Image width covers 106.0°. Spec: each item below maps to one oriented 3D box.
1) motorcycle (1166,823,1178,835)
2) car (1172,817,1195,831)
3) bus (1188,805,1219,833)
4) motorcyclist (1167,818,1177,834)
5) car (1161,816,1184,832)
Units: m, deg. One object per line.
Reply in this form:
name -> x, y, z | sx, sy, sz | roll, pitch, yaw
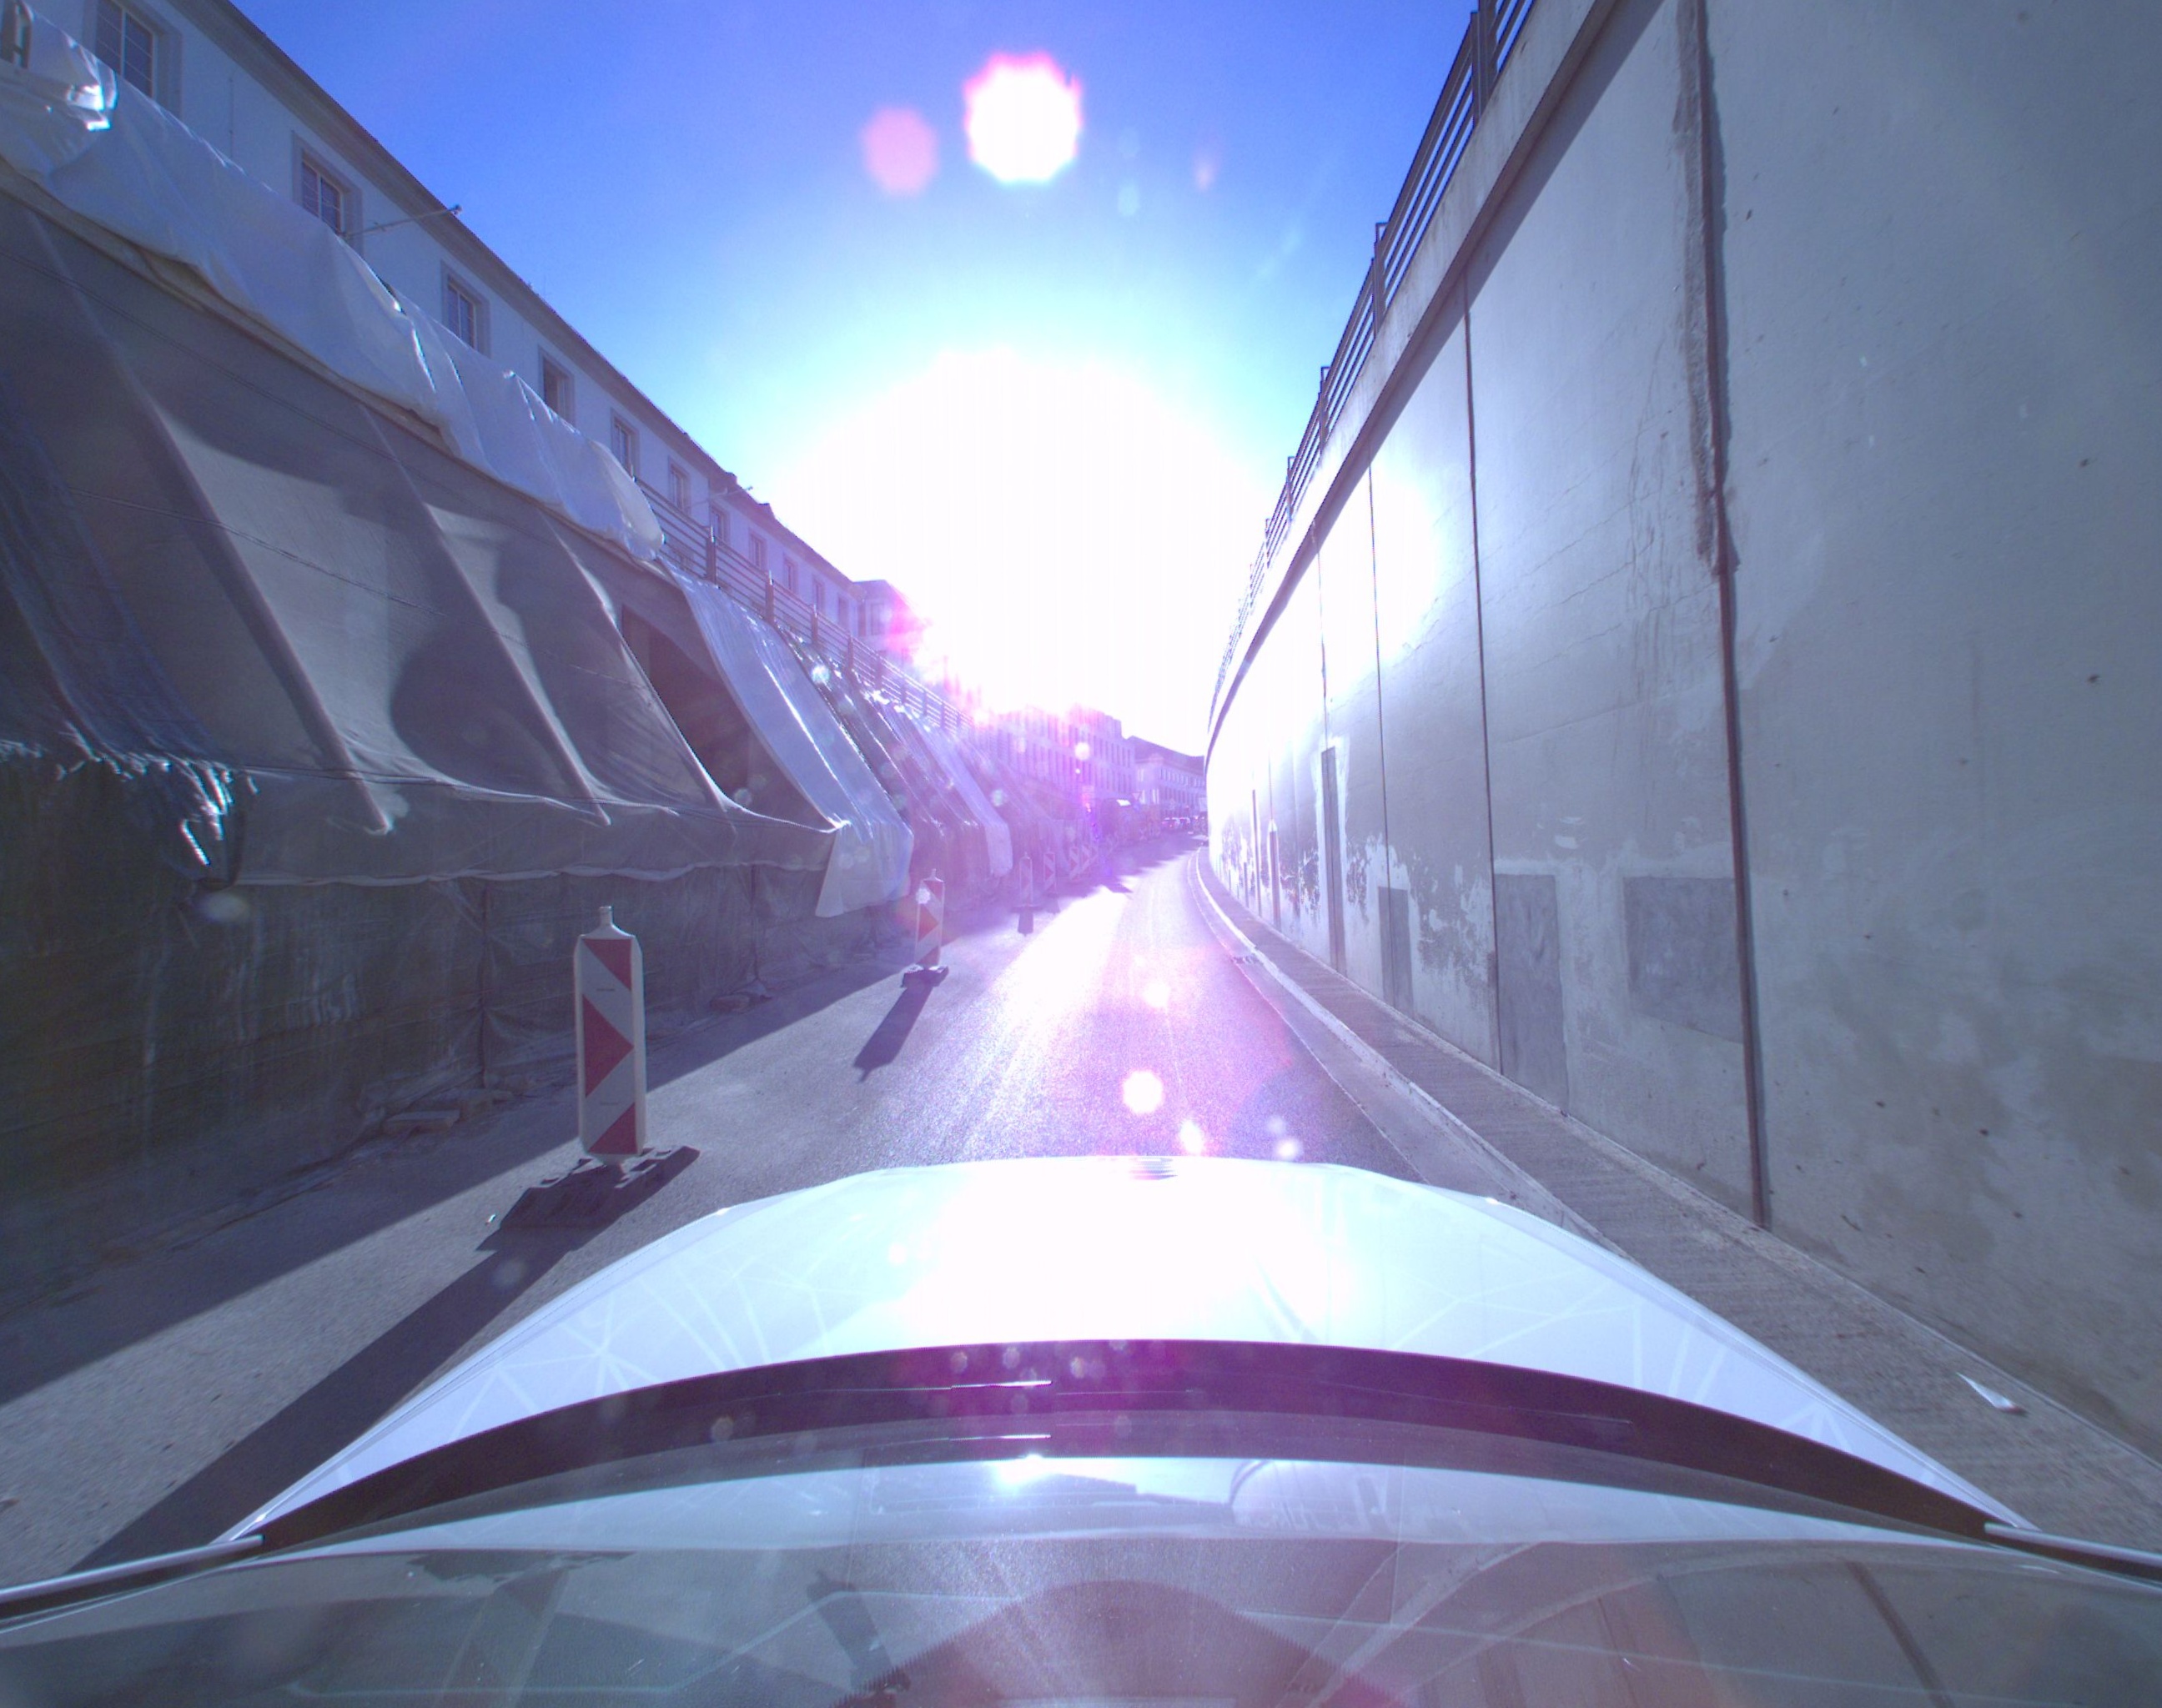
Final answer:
motorcycle -> 8.590, -2.352, 76.841 | 0.766, 0.992, 2.191 | -1, -1, 13
car -> 11.325, -3.291, 89.868 | 1.807, 1.533, 4.018 | -1, 2, 16
bus -> 12.079, -3.448, 80.170 | 2.207, 2.556, 4.449 | -1, 2, 18
motorcyclist -> 8.568, -2.621, 76.733 | 0.798, 1.504, 0.779 | -1, -1, 13
car -> 9.446, -3.057, 83.724 | 1.763, 1.604, 4.017 | -1, 2, 15
